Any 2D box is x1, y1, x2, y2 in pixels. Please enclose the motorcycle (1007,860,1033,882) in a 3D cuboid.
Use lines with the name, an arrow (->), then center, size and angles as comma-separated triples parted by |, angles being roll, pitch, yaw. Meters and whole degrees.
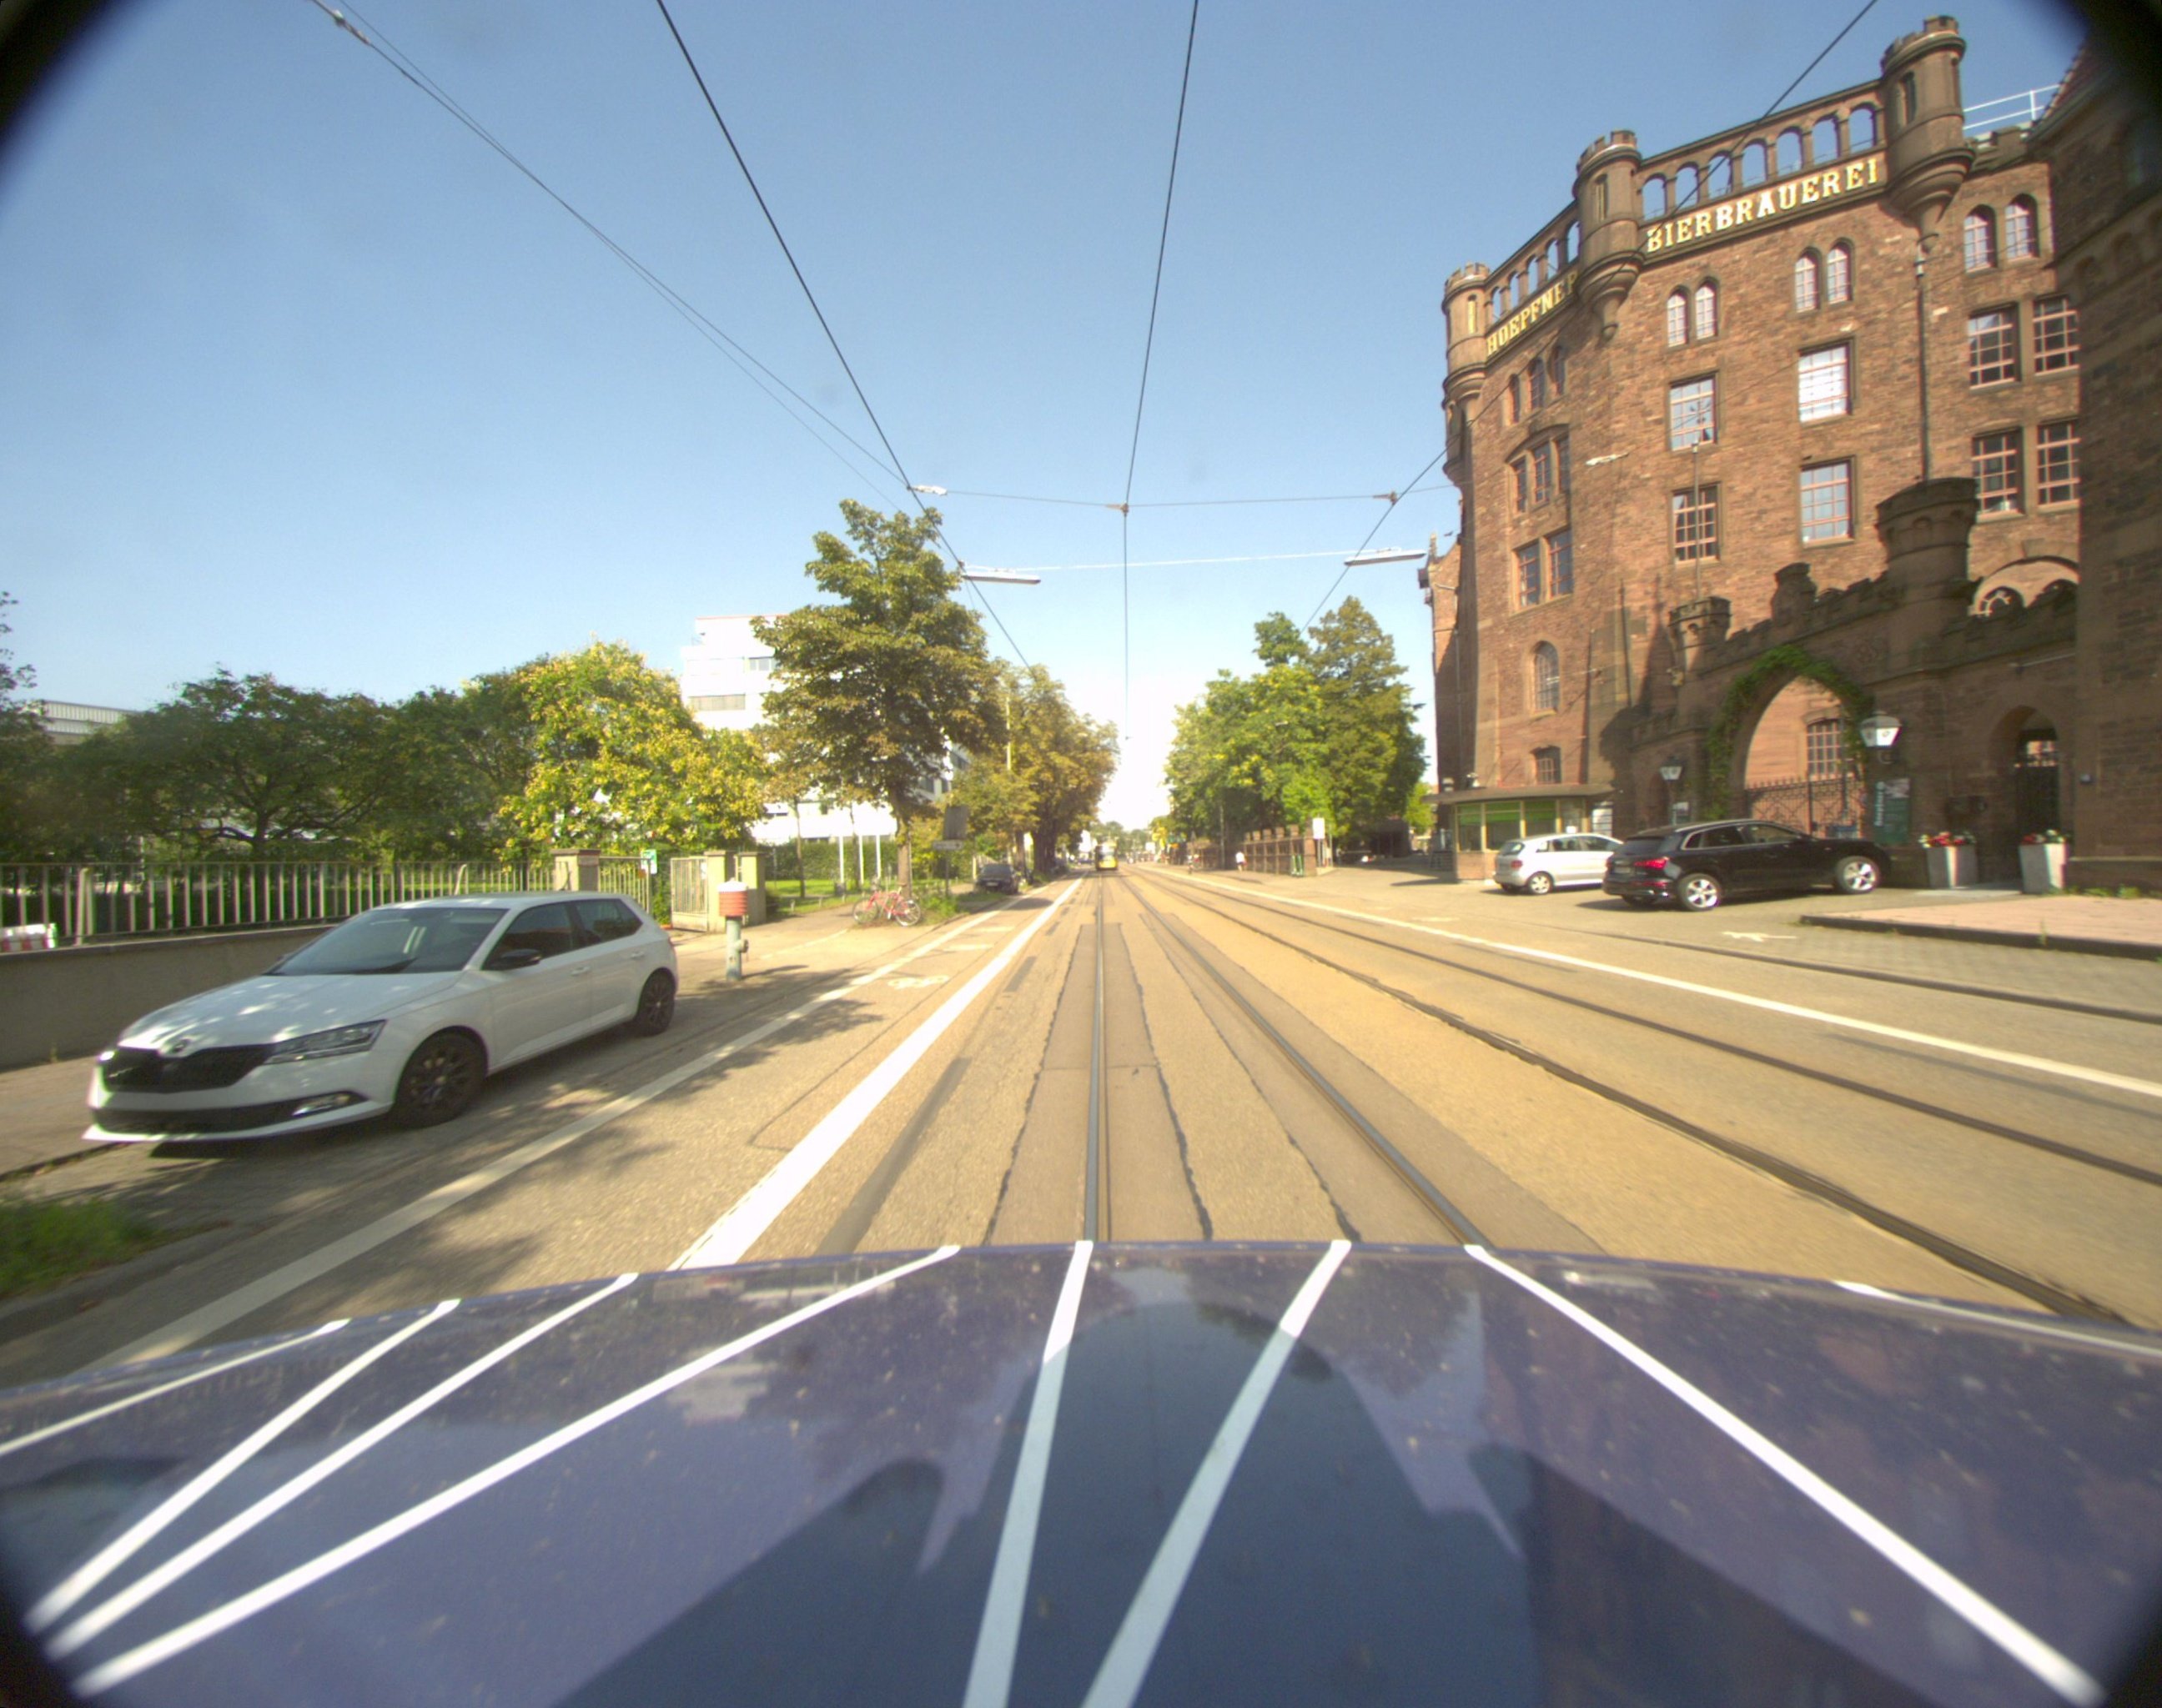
motorcycle -> -3.728, 1.008, 46.320 | 0.846, 1.319, 2.062 | -1, 1, -27

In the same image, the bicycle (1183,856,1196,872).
bicycle -> 8.729, 0.798, 61.317 | 0.699, 1.151, 2.037 | -1, 1, -1

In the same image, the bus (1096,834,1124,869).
bus -> 3.477, -0.337, 88.530 | 2.900, 3.771, 9.320 | -2, 0, 4

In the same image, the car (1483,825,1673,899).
car -> 13.708, 0.212, 21.157 | 3.908, 1.586, 1.823 | -6, 0, 4

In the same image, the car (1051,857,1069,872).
car -> -2.415, 1.223, 88.754 | 1.866, 1.643, 4.183 | 0, 0, 0

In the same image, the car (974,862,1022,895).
car -> -3.947, 1.125, 36.744 | 1.745, 1.477, 4.437 | -1, 0, 0

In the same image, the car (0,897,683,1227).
car -> -4.985, 1.187, 5.899 | 1.644, 1.421, 3.988 | -1, 0, 0

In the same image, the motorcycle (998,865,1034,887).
motorcycle -> -3.769, 1.267, 43.952 | 1.984, 1.218, 0.647 | -2, 1, 27

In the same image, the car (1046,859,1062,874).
car -> -2.728, 1.228, 76.595 | 1.566, 1.433, 3.563 | 1, 0, -1

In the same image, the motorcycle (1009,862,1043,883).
motorcycle -> -3.462, 1.145, 47.773 | 2.061, 1.236, 0.846 | 0, 1, 40

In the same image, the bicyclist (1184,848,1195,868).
bicyclist -> 8.729, 0.343, 61.307 | 0.699, 1.571, 1.087 | -1, 1, -1

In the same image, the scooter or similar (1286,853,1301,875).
scooter or similar -> 11.700, 0.548, 41.881 | 0.818, 1.142, 0.283 | -6, 3, -34

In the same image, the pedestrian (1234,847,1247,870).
pedestrian -> 11.706, 0.326, 55.762 | 0.717, 1.580, 0.775 | -2, 1, 1

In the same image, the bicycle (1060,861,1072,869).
bicycle -> -1.992, 1.417, 99.705 | 1.621, 1.009, 0.382 | -2, 0, -2

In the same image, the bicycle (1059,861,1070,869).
bicycle -> -2.146, 1.425, 99.232 | 1.460, 1.009, 0.382 | -2, 0, -2

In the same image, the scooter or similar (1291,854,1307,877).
scooter or similar -> 11.679, 0.600, 40.647 | 0.818, 1.142, 0.283 | -6, 3, -34

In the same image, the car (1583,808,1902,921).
car -> 12.947, 0.203, 15.136 | 4.407, 1.636, 1.957 | -6, 0, 3

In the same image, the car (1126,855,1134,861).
car -> 11.003, 0.874, 170.146 | 1.694, 1.433, 4.000 | -2, 0, 2

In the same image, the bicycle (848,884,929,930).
bicycle -> -4.697, 1.293, 18.645 | 1.773, 1.058, 0.796 | 0, 1, 0

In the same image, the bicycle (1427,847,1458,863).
bicycle -> 24.510, 0.073, 51.546 | 1.772, 1.040, 0.666 | -2, 1, 37
